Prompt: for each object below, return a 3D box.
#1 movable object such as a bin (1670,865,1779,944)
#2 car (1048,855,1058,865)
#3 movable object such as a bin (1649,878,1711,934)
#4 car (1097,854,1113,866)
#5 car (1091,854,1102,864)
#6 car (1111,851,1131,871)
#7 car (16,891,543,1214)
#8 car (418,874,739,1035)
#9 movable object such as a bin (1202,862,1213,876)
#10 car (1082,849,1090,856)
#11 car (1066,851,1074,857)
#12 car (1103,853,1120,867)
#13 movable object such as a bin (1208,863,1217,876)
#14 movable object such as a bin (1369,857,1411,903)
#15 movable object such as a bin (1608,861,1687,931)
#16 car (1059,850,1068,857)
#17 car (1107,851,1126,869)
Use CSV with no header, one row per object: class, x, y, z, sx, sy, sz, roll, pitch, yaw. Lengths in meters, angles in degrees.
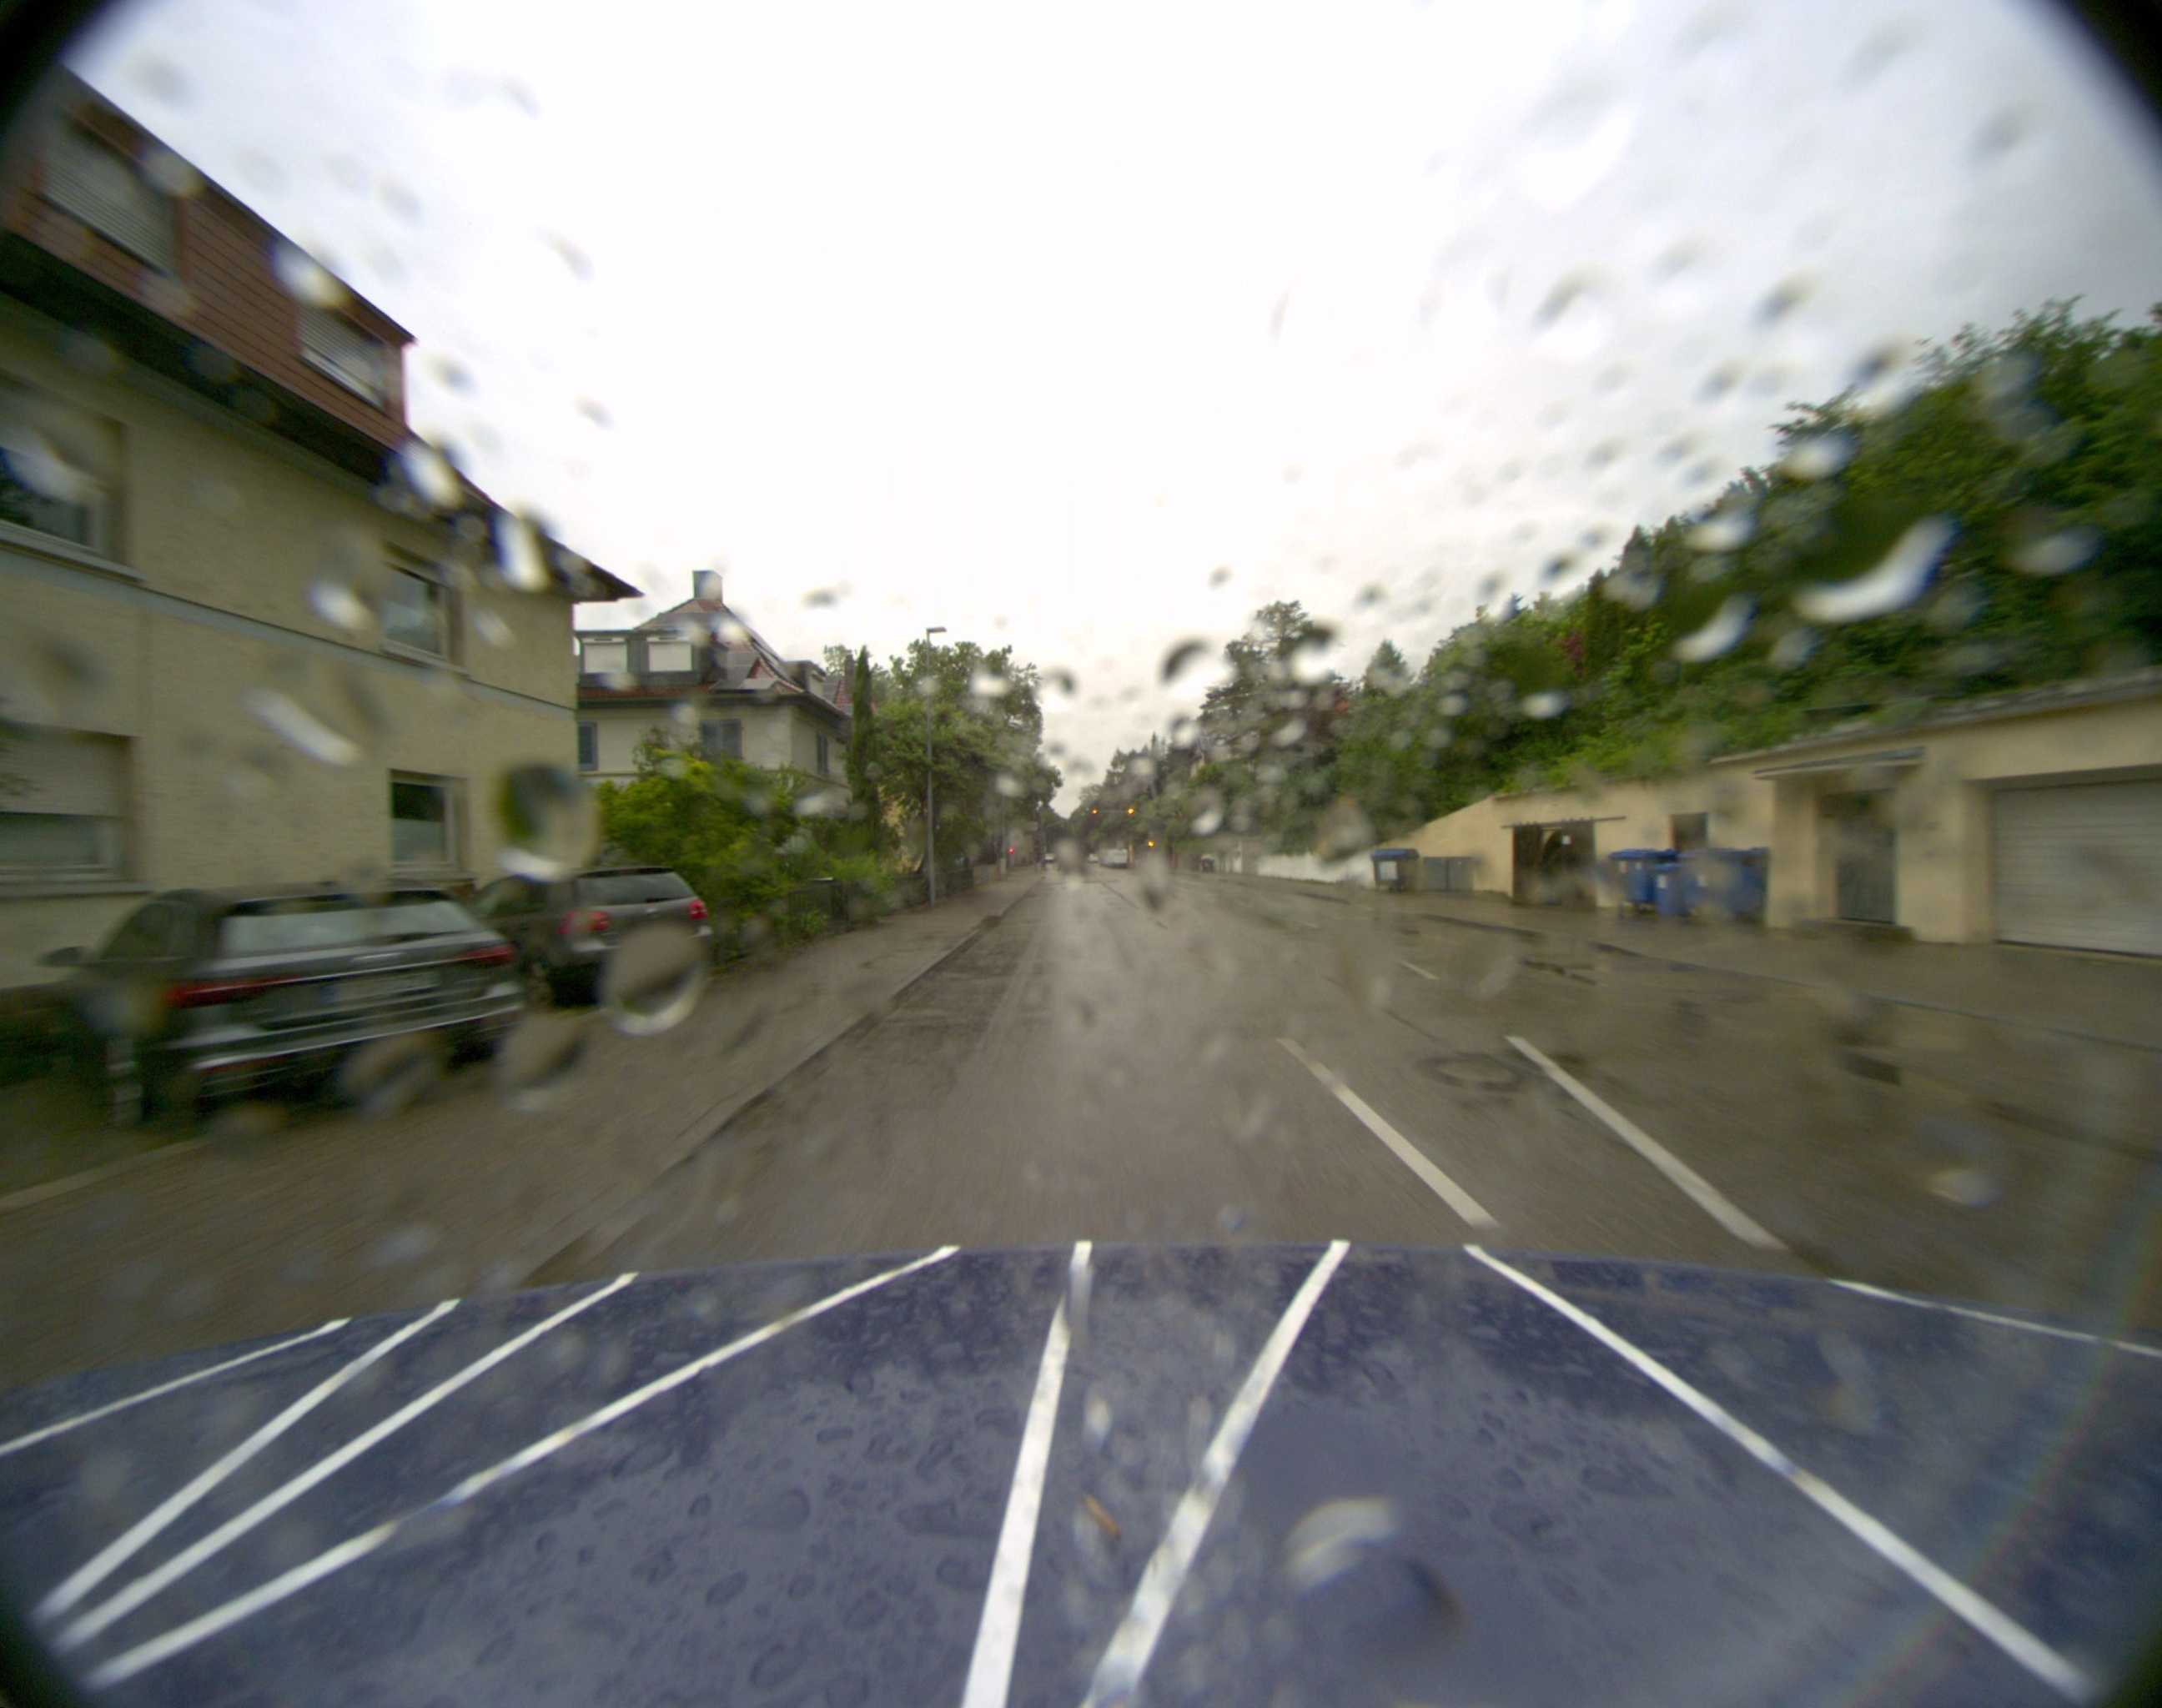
movable object such as a bin,11.654,0.885,13.825,0.822,1.307,1.402,-2,0,4
car,-5.797,1.207,155.610,1.925,1.889,3.999,-3,1,-1
movable object such as a bin,11.856,1.018,15.057,0.737,1.036,0.607,-3,1,4
car,3.921,0.992,124.040,2.162,1.815,4.915,1,0,-3
car,3.021,0.920,149.571,1.925,1.747,3.999,-3,1,-1
car,5.202,0.855,98.883,2.085,2.464,4.852,1,0,-3
car,-6.013,1.025,5.560,4.370,1.356,1.923,-2,2,35
car,-6.043,1.022,9.012,3.989,1.448,1.775,-2,0,35
movable object such as a bin,9.637,1.133,57.797,0.683,1.034,0.657,-3,1,-3
car,1.413,-0.510,219.202,1.924,1.889,4.001,-3,1,4
car,-3.470,-0.010,235.274,1.924,1.889,4.001,-3,1,6
car,4.628,0.928,116.357,2.162,1.944,4.915,1,0,-3
movable object such as a bin,9.806,1.167,56.566,0.532,0.893,0.416,-3,1,-3
movable object such as a bin,10.307,0.855,25.346,0.935,1.437,0.861,-5,2,-1
movable object such as a bin,11.870,0.860,15.965,0.822,1.374,1.135,-2,0,4
car,-5.144,-0.144,224.734,1.924,1.889,4.001,-3,1,5
car,4.944,0.815,105.428,2.162,2.454,4.915,1,0,-3
